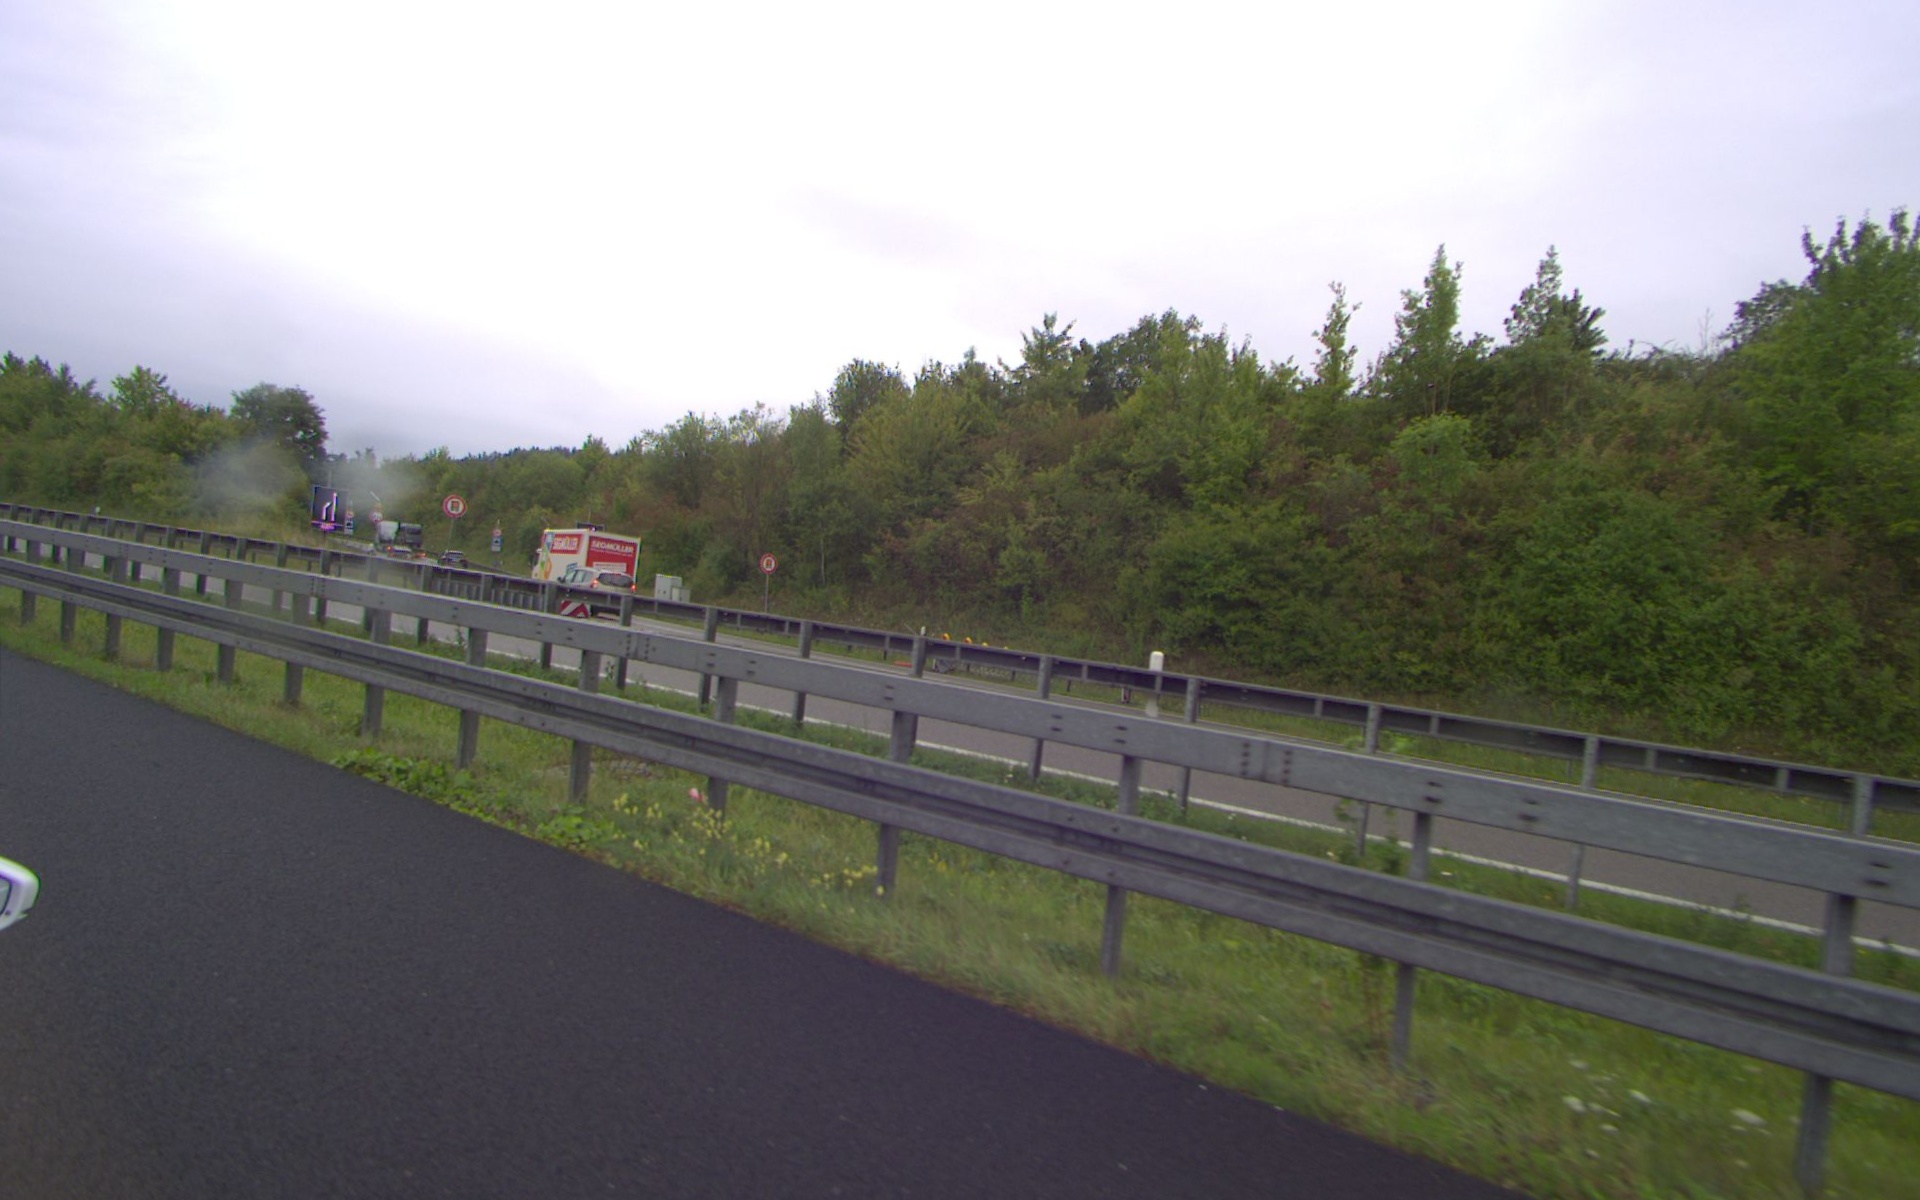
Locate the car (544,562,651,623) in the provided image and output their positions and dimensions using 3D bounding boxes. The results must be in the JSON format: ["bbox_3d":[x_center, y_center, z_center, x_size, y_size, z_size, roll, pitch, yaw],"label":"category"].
[{"bbox_3d":[-12.866,-0.296,35.534,1.854,1.678,4.419,8,-1,-43],"label":"car"}]

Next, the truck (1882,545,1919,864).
[{"bbox_3d":[15.112,1.260,8.244,10.243,4.341,3.443,7,0,31],"label":"truck"}]

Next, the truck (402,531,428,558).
[{"bbox_3d":[-63.682,-6.452,117.581,2.420,2.737,5.529,7,-1,-28],"label":"truck"}]

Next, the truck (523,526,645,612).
[{"bbox_3d":[-18.053,-1.579,47.852,2.883,3.435,8.888,7,-1,-36],"label":"truck"}]

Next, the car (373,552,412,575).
[{"bbox_3d":[-44.879,-2.913,79.556,1.852,1.465,4.112,8,-1,-40],"label":"car"}]

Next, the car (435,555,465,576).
[{"bbox_3d":[-42.688,-2.912,84.223,1.847,1.464,4.124,7,-1,-31],"label":"car"}]

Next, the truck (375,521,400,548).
[{"bbox_3d":[-71.075,-8.132,124.963,2.227,2.913,8.113,7,-1,-29],"label":"truck"}]
